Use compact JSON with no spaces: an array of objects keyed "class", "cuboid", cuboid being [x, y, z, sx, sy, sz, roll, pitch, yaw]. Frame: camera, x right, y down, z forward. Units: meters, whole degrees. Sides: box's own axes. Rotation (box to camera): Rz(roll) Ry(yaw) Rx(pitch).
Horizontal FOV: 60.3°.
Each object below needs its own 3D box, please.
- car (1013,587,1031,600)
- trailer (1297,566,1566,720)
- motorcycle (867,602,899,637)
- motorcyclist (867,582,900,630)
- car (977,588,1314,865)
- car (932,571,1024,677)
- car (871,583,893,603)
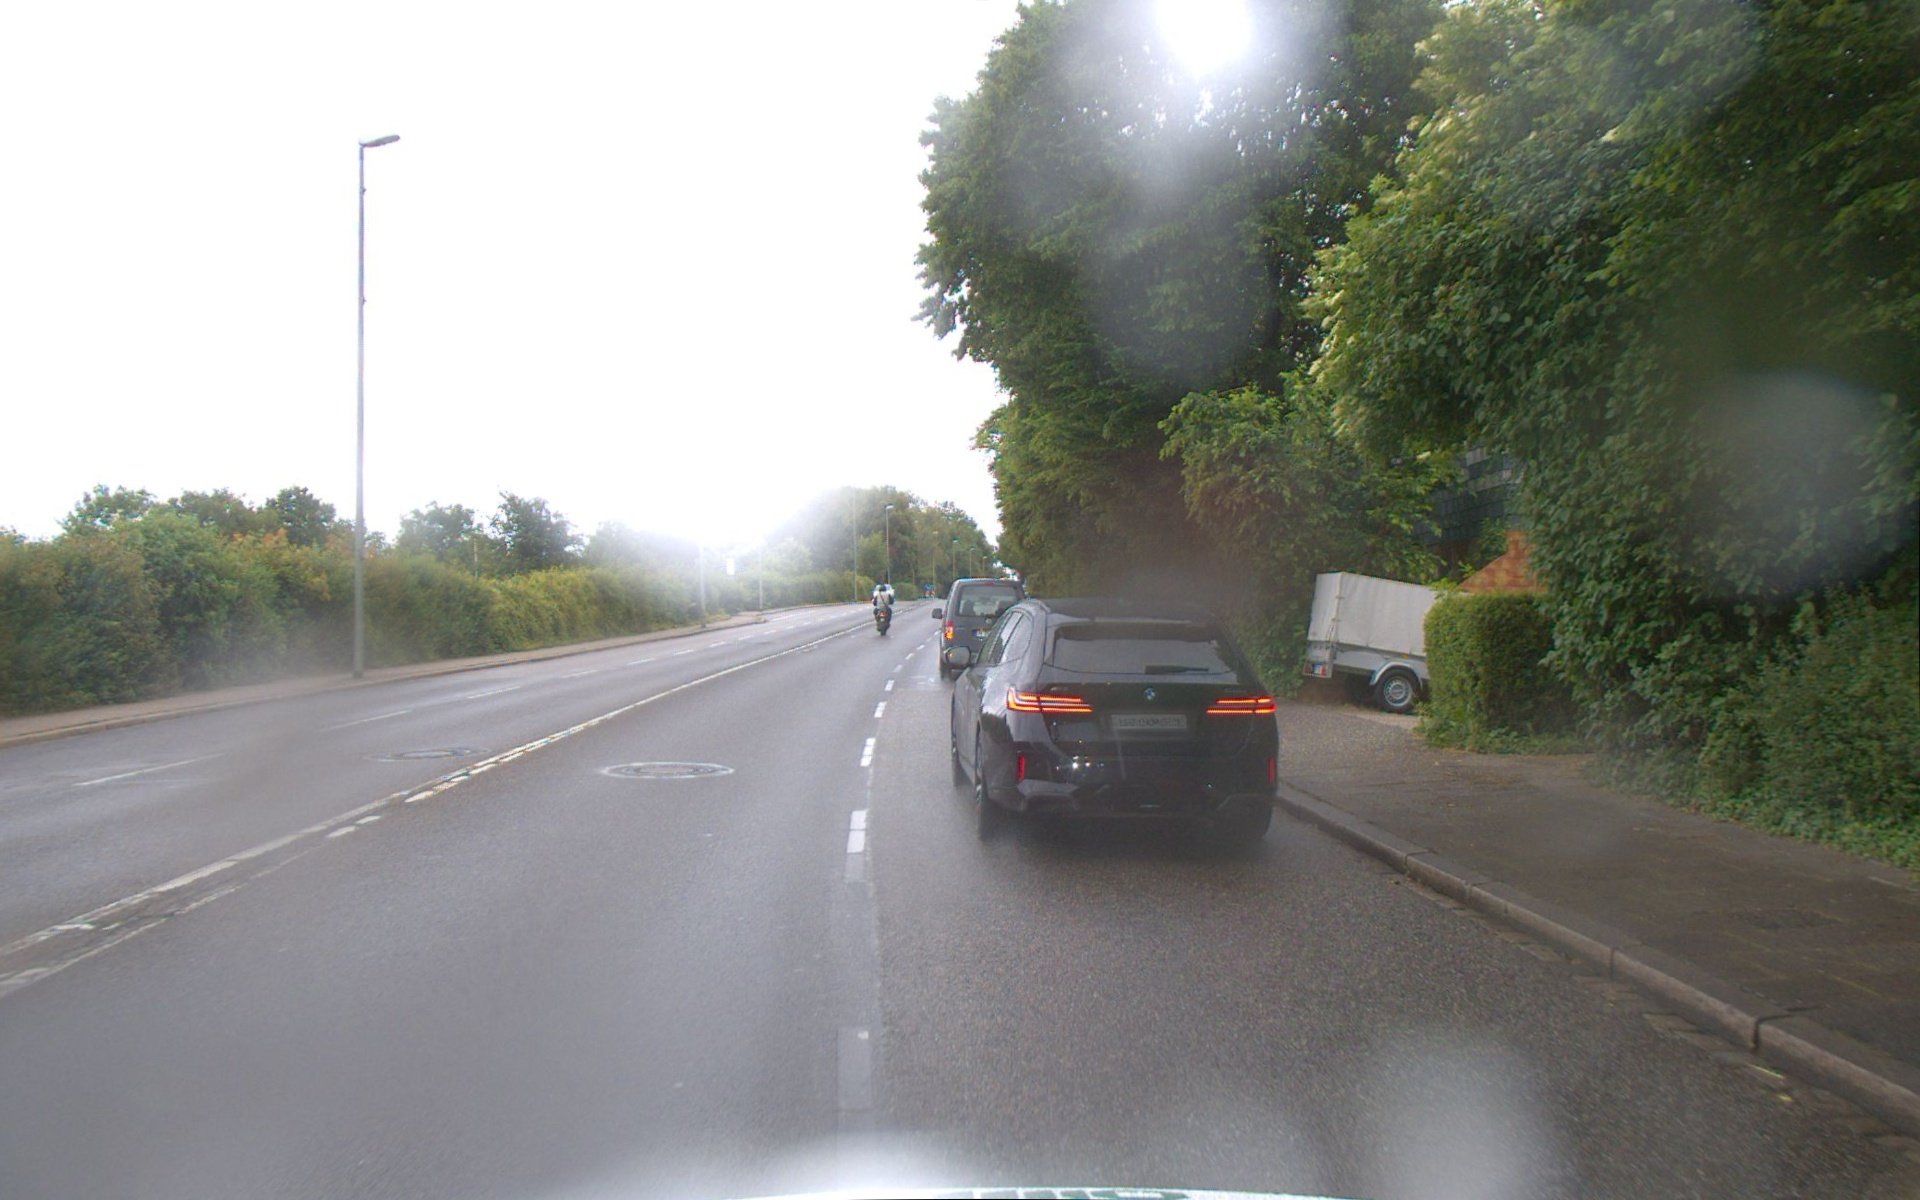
[{"class":"car","cuboid":[7.237,-0.739,193.385,1.895,1.467,4.410,-1,0,4]},{"class":"trailer","cuboid":[6.102,0.547,21.606,2.922,1.597,1.488,7,0,-3]},{"class":"motorcycle","cuboid":[-2.561,0.638,55.305,0.858,1.144,2.741,1,0,1]},{"class":"motorcyclist","cuboid":[-2.558,0.198,55.193,1.018,1.595,0.855,1,-1,1]},{"class":"car","cuboid":[1.124,0.703,11.292,1.857,1.515,4.001,1,0,2]},{"class":"car","cuboid":[0.376,0.408,31.690,1.595,1.865,4.001,-2,1,1]},{"class":"car","cuboid":[-6.815,-0.632,145.153,1.720,1.595,4.000,-2,0,0]}]
